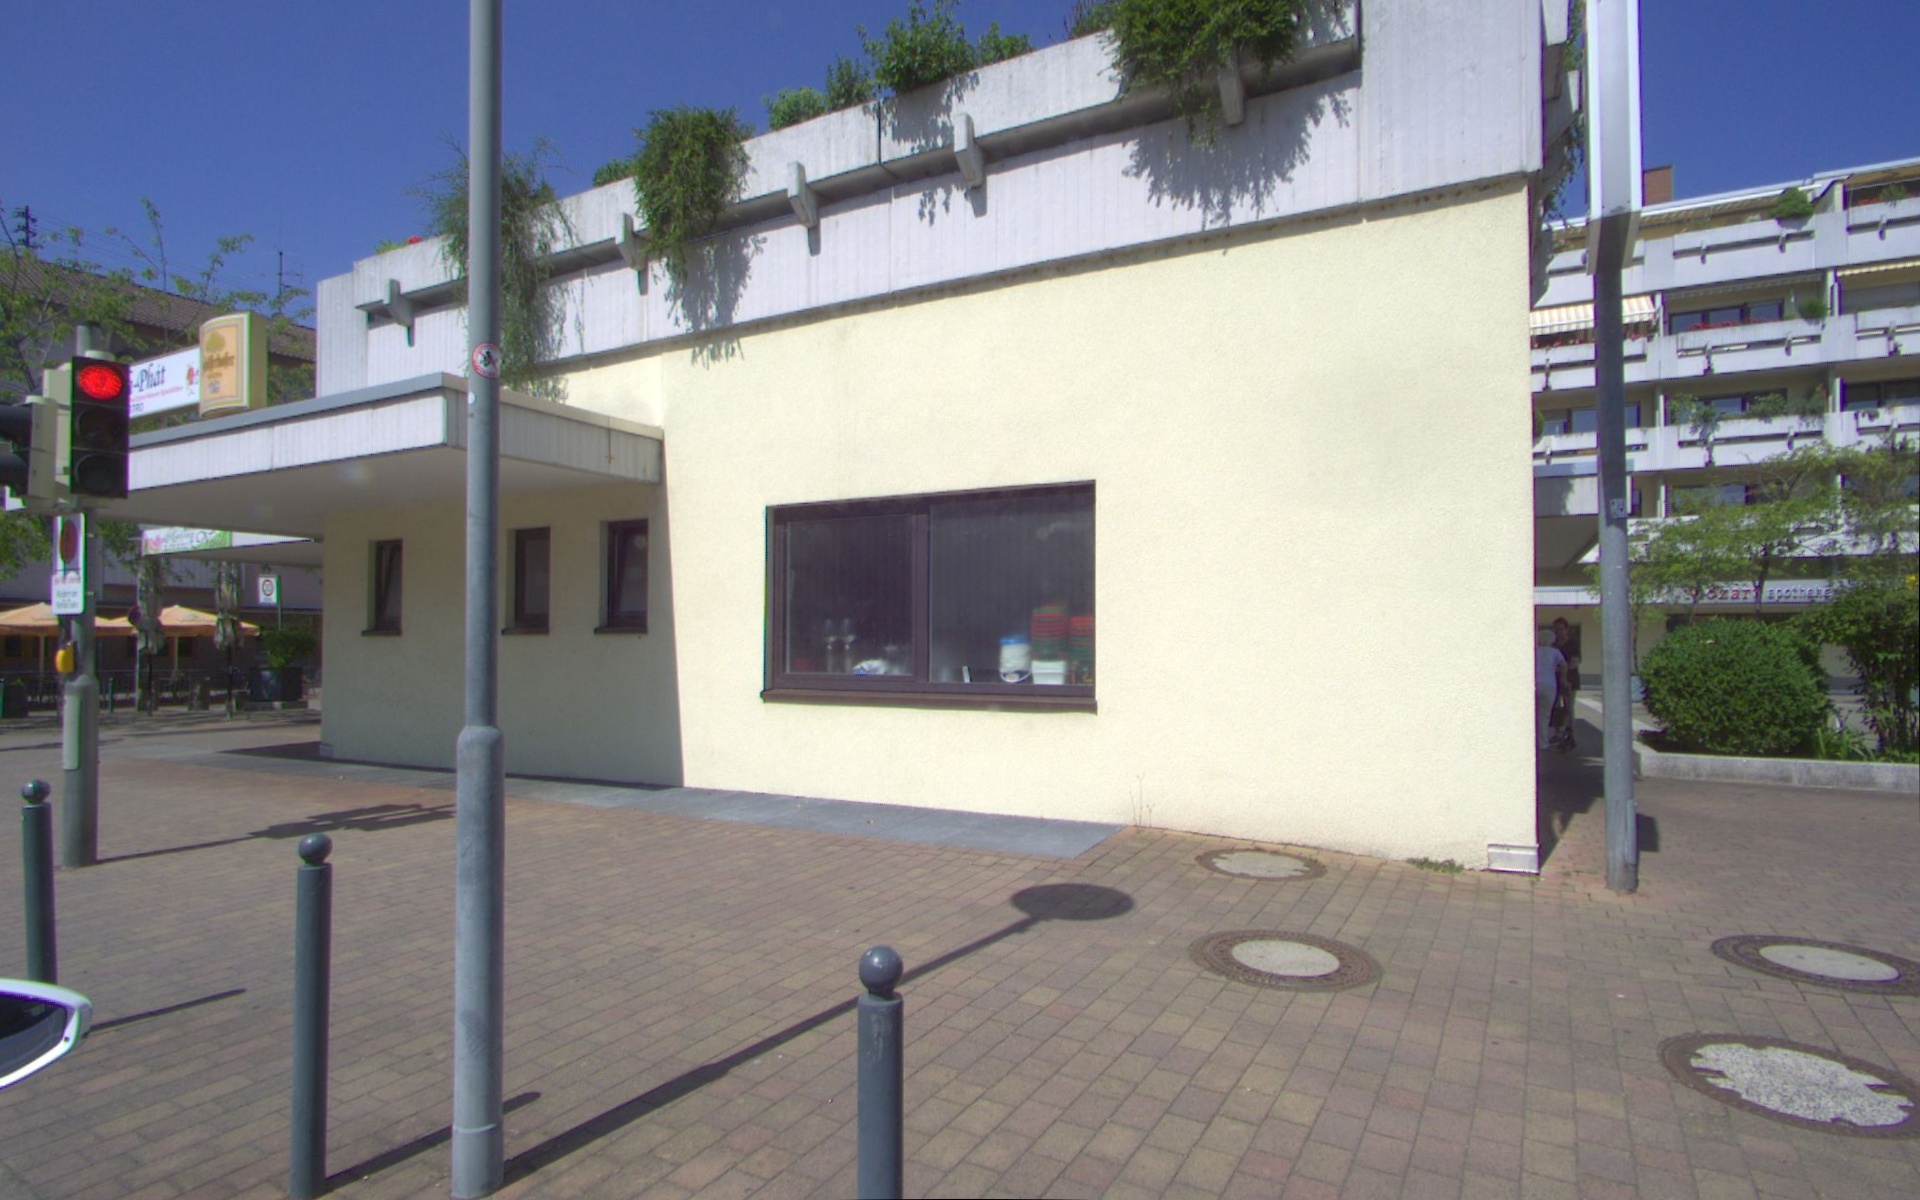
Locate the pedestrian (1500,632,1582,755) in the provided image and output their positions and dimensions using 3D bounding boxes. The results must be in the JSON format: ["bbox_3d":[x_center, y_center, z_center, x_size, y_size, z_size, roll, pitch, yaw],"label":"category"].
[{"bbox_3d":[7.433,1.169,12.808,0.801,1.516,0.615,1,-2,-35],"label":"pedestrian"}]

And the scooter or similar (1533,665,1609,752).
[{"bbox_3d":[8.086,1.415,13.262,0.795,1.088,0.587,2,-2,-35],"label":"scooter or similar"}]
